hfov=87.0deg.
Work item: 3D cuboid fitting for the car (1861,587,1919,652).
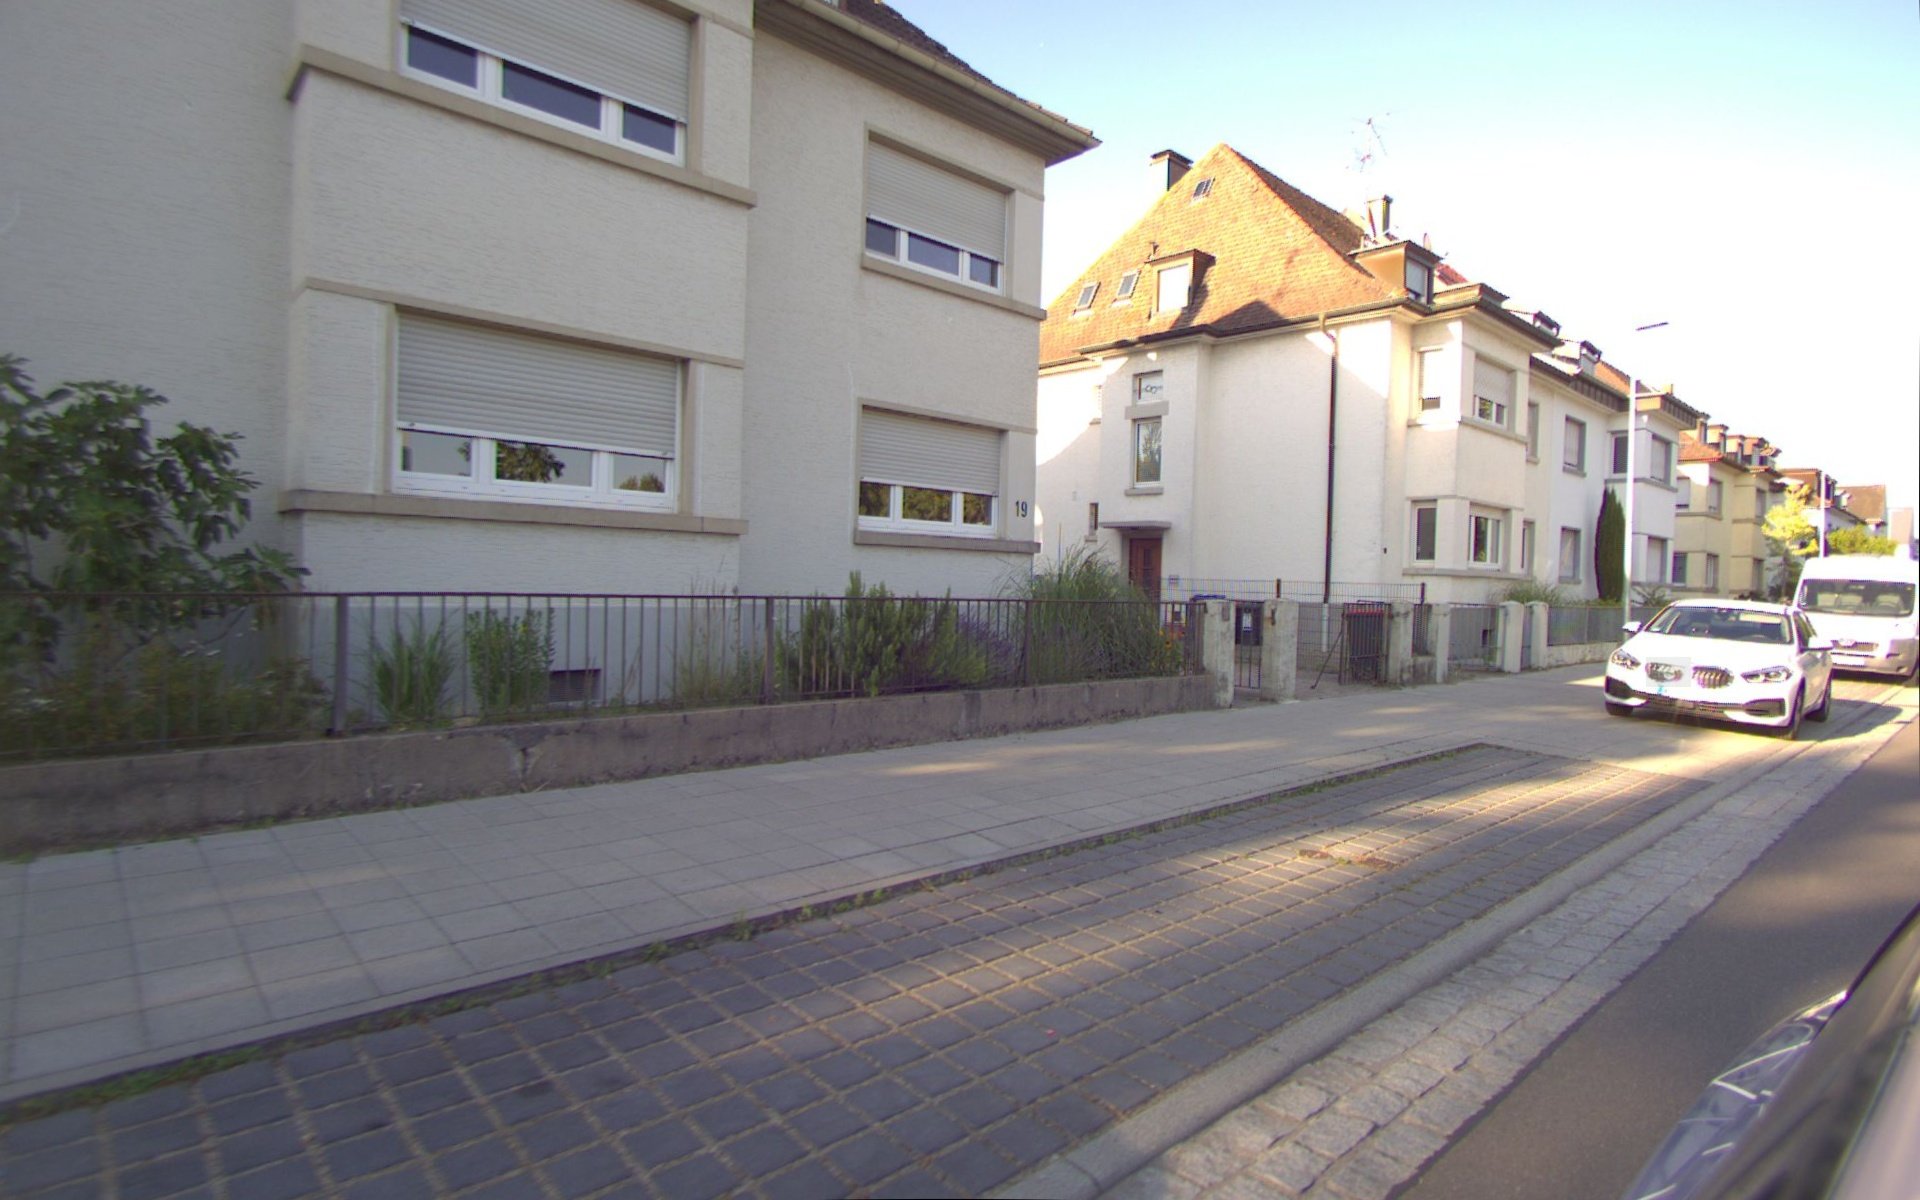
[{"bbox_3d":[26.766,0.539,28.383,4.404,1.665,1.780,0,2,-43],"label":"car"}]

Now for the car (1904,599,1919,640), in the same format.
[{"bbox_3d":[36.163,0.697,37.301,3.935,1.457,1.628,0,1,-42],"label":"car"}]

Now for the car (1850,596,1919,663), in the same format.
[{"bbox_3d":[23.156,0.689,24.725,4.036,1.501,1.624,0,1,-42],"label":"car"}]

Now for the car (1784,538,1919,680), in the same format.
[{"bbox_3d":[18.811,0.128,20.880,5.418,2.549,2.131,0,3,-45],"label":"car"}]

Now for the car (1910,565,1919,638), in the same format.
[{"bbox_3d":[40.645,0.088,41.407,5.885,2.890,2.132,0,0,-43],"label":"car"}]

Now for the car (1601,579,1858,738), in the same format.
[{"bbox_3d":[9.453,0.594,12.303,4.162,1.525,1.785,1,3,-44],"label":"car"}]

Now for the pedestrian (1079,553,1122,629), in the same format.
[{"bbox_3d":[3.326,-0.222,24.014,0.702,1.782,0.695,0,1,-43],"label":"pedestrian"}]
